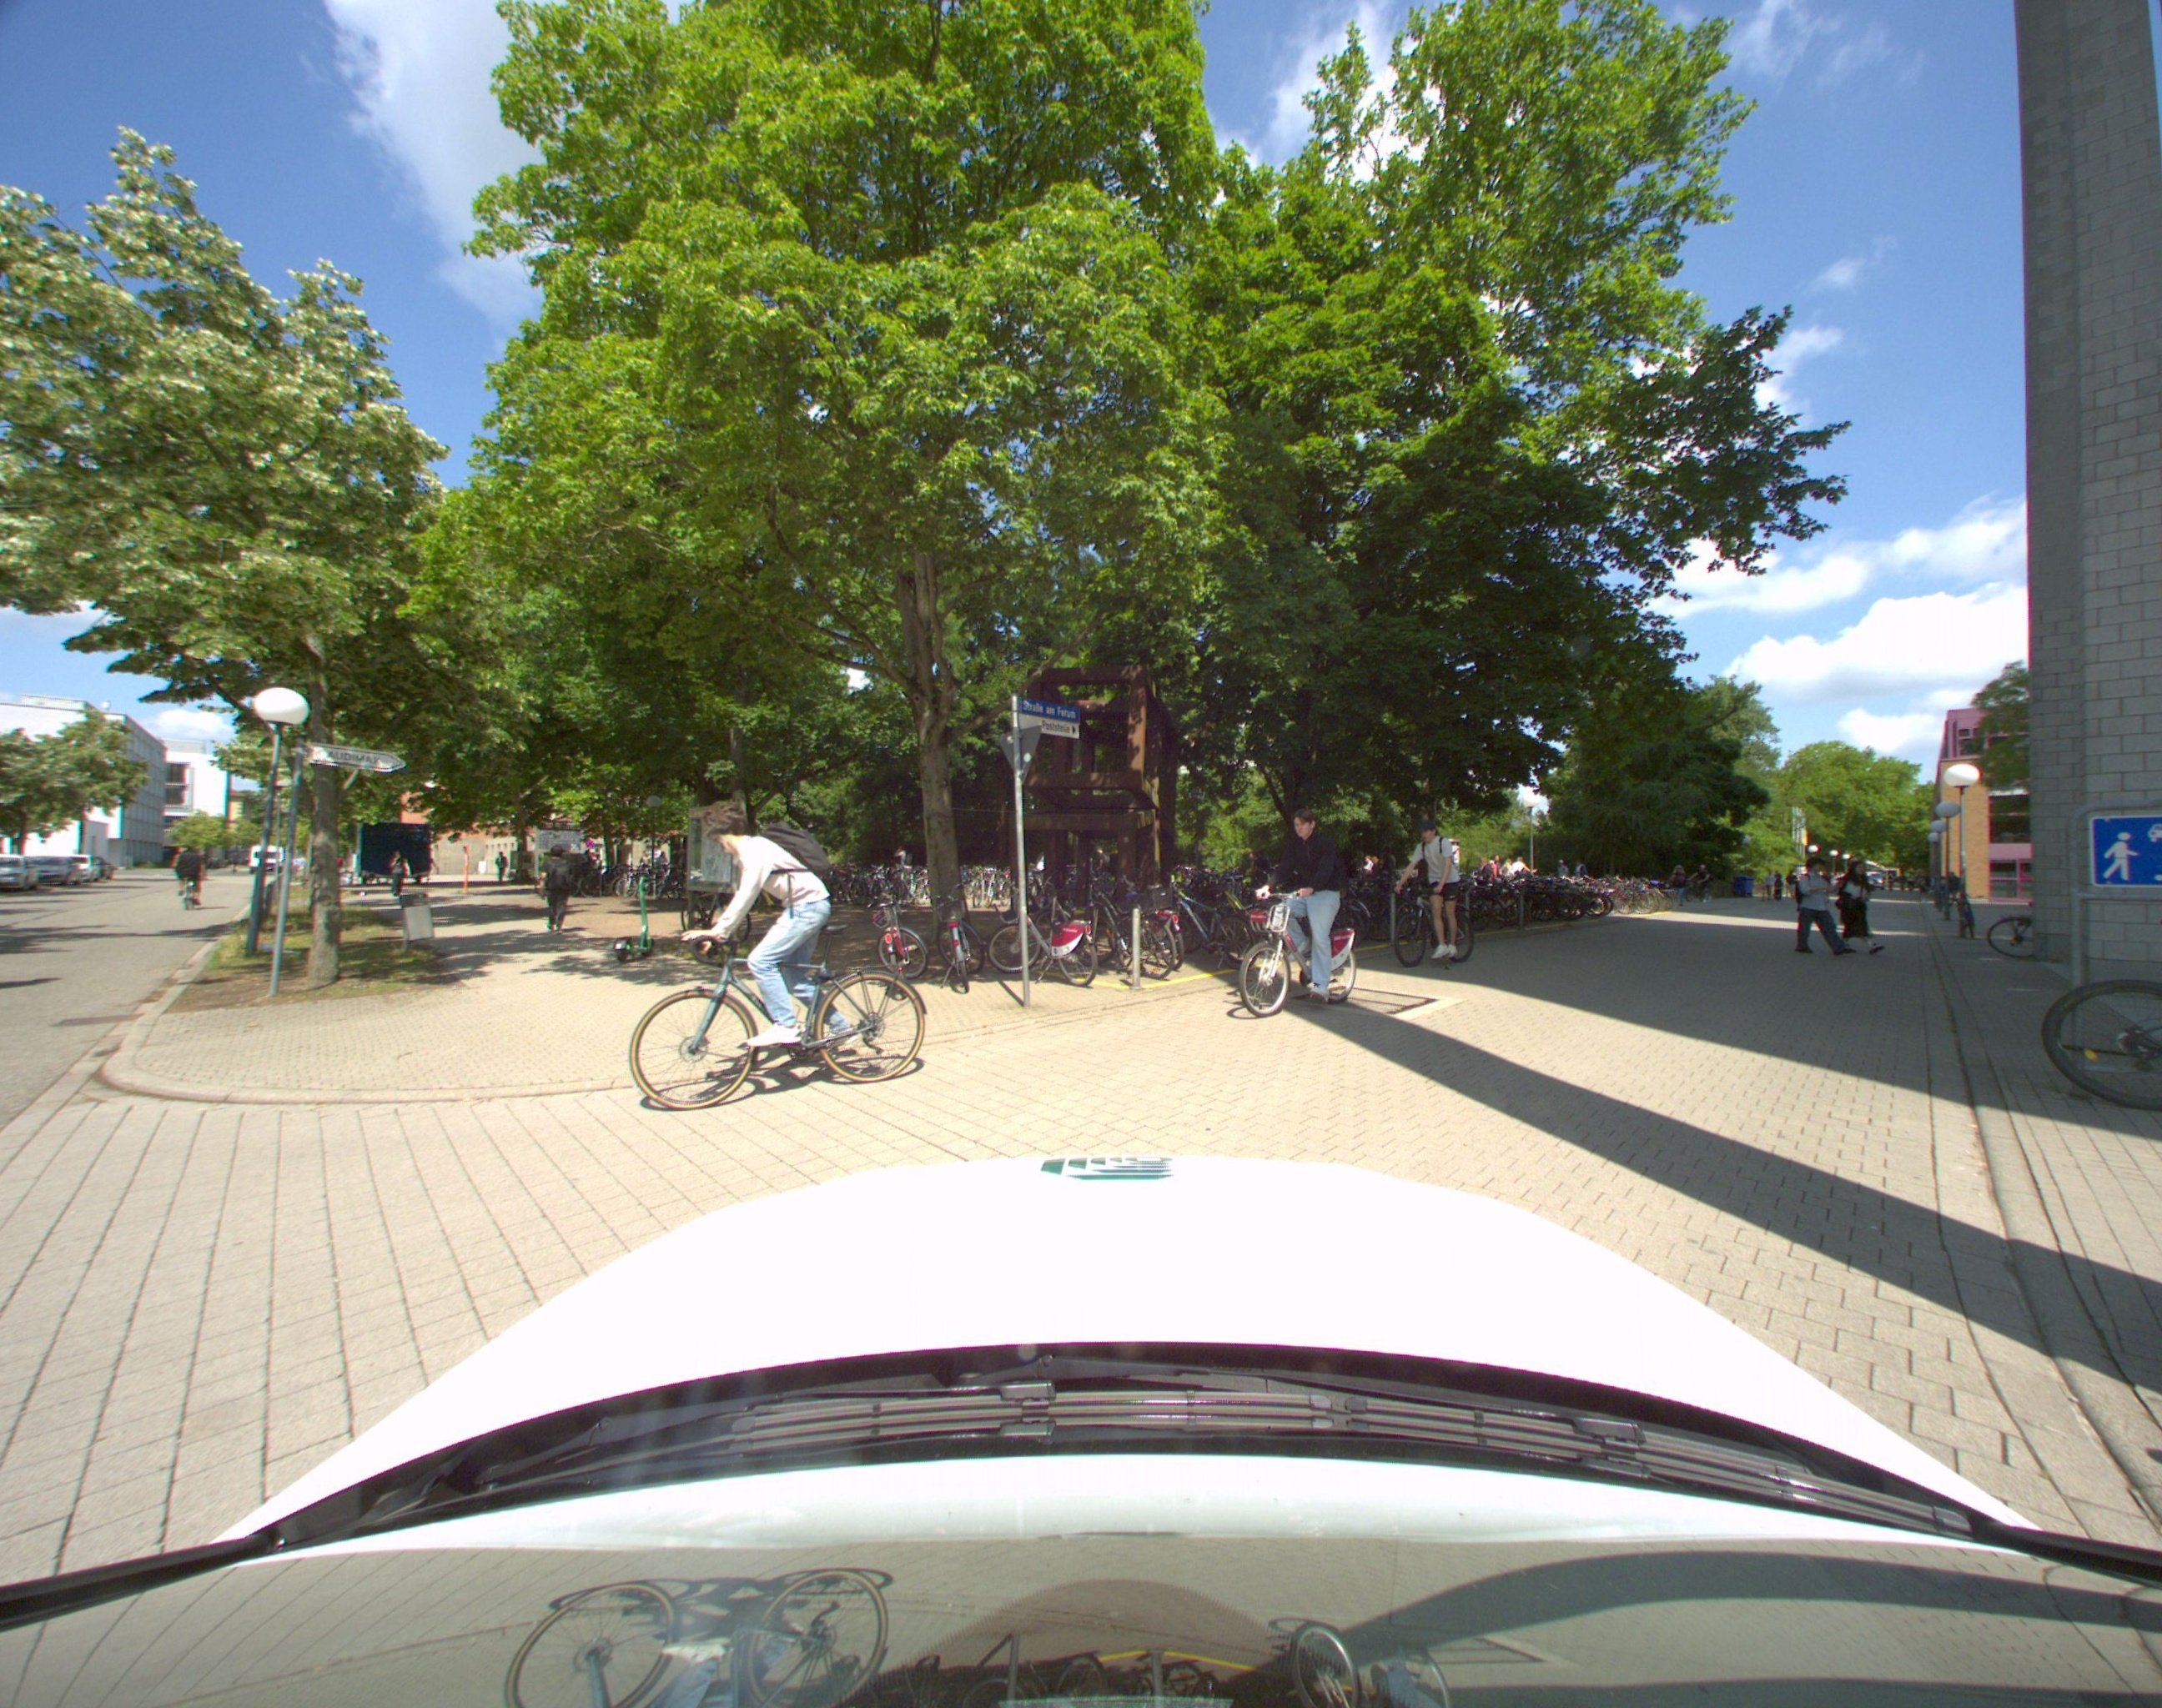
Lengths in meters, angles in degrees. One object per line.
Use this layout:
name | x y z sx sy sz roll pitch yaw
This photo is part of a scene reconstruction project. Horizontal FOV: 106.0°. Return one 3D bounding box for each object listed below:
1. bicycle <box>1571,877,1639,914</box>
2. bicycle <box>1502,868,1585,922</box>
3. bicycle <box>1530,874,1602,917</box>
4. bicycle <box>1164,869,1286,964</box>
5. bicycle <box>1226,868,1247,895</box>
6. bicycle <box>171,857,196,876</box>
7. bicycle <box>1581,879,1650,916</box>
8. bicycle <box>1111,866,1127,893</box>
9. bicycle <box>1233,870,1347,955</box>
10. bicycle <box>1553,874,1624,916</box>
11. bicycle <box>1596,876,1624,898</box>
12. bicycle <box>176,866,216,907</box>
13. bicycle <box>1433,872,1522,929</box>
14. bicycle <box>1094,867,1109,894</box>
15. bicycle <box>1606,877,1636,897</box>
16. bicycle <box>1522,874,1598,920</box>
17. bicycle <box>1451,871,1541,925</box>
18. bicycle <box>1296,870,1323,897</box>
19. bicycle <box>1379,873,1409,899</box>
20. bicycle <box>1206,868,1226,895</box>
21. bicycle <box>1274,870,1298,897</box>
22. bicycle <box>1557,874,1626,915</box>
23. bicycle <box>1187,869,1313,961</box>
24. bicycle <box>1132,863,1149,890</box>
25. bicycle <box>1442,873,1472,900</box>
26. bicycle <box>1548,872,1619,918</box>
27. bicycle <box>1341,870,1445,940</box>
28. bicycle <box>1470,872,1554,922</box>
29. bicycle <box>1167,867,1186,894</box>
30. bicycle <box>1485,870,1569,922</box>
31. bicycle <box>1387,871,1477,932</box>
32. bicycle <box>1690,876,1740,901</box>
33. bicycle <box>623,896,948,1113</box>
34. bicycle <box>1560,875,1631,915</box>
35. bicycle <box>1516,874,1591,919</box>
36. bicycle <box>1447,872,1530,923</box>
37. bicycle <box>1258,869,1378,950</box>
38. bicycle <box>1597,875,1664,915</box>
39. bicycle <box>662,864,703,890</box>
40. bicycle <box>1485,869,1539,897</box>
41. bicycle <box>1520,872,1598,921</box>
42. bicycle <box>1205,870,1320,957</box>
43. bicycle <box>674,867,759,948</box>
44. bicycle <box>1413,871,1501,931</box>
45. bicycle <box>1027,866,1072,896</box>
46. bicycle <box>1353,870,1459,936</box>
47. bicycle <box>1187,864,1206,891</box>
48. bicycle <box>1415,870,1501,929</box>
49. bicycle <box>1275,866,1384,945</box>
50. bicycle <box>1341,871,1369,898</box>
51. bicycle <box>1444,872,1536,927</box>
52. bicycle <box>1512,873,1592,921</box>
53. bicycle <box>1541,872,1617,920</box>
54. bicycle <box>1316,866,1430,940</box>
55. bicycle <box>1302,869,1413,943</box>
bicycle | 16.185 1.274 25.186 1.683 1.062 0.475 2 -1 11
bicycle | 11.521 0.998 20.331 1.718 1.236 0.500 1 -1 39
bicycle | 13.619 1.148 22.885 1.678 1.108 0.569 1 -1 35
bicycle | 1.851 0.777 10.656 0.499 1.108 1.611 3 -1 -39
bicycle | 6.744 1.182 35.453 0.514 1.110 1.776 2 -1 -2
bicycle | -55.872 0.765 50.682 1.679 1.083 0.477 2 -1 23
bicycle | 16.184 1.310 24.670 1.683 1.018 0.475 2 -1 11
bicycle | 1.642 1.072 35.205 0.514 1.110 1.776 2 -1 -2
bicycle | 3.020 0.819 11.878 0.499 1.108 1.611 3 -1 -39
bicycle | 14.589 1.162 23.441 1.678 1.108 0.586 1 -1 35
bicycle | 27.198 1.687 41.906 0.470 1.047 1.702 2 -1 6
bicycle | -24.871 0.889 22.869 2.046 1.108 0.674 -1 -1 41
bicycle | 8.425 0.965 17.384 0.575 1.108 1.727 2 -1 -24
bicycle | 0.875 1.123 35.156 0.514 1.110 1.776 2 -1 -2
bicycle | 29.705 1.820 44.793 1.701 1.047 0.471 3 0 -23
bicycle | 12.561 1.113 21.366 1.678 1.108 0.477 1 -1 35
bicycle | 9.418 0.985 18.519 1.719 1.126 0.500 1 -1 42
bicycle | 9.902 1.263 35.293 0.515 1.110 1.775 2 -1 -5
bicycle | 13.793 1.396 35.908 0.472 1.110 1.775 2 -1 -5
bicycle | 5.898 1.185 35.580 0.514 1.110 1.776 2 -1 -2
bicycle | 8.859 1.261 35.204 0.514 1.110 1.776 2 -1 -2
bicycle | 15.268 1.200 24.396 1.680 1.157 0.476 2 -1 19
bicycle | 2.256 0.787 11.052 0.632 1.108 1.611 3 -1 -39
bicycle | 2.566 0.973 35.320 0.514 1.110 1.776 2 -1 -2
bicycle | 16.378 1.420 35.513 0.471 1.110 1.777 2 -1 0
bicycle | 14.214 1.144 23.064 1.678 1.187 0.477 1 -1 35
bicycle | 5.452 0.871 14.288 1.609 1.108 0.500 1 -1 41
bicycle | 10.400 1.023 19.681 1.718 1.108 0.500 1 -1 34
bicycle | 4.140 1.133 35.314 0.514 1.110 1.776 2 -1 -2
bicycle | 10.982 1.023 20.078 0.500 1.178 1.719 3 -1 -44
bicycle | 6.985 0.931 16.272 0.564 1.108 1.614 2 -1 -30
bicycle | 29.907 1.633 38.437 1.823 1.110 0.476 2 -1 20
bicycle | -1.815 0.879 5.187 1.820 1.108 0.636 -1 1 -21
bicycle | 15.117 1.193 23.953 1.680 1.108 0.476 2 -1 19
bicycle | 12.645 1.115 21.822 1.678 1.108 0.477 1 -1 35
bicycle | 9.611 1.021 19.264 1.720 1.108 0.499 2 -1 22
bicycle | 3.568 0.807 12.355 0.694 1.108 1.611 3 -1 -39
bicycle | 17.158 1.260 25.469 1.678 1.168 0.477 2 -1 29
bicycle | -17.194 0.975 35.171 0.469 1.083 1.707 2 -1 17
bicycle | 17.378 1.143 32.859 1.884 1.047 0.545 1 -1 36
bicycle | 12.301 1.079 20.973 1.678 1.145 0.477 1 -1 35
bicycle | 2.547 0.804 11.577 0.508 1.108 1.611 3 -1 -39
bicycle | -5.605 0.788 12.490 1.816 1.108 0.395 1 -1 40
bicycle | 7.560 0.923 16.450 0.498 1.108 1.614 2 -1 -30
bicycle | -1.253 1.064 32.141 1.678 1.083 0.608 2 -1 30
bicycle | 6.004 0.877 15.109 0.722 1.108 1.709 3 -1 -33
bicycle | 5.010 1.004 35.411 0.514 1.110 1.776 2 -1 -2
bicycle | 7.859 0.922 17.028 0.498 1.144 1.614 2 -1 -30
bicycle | 3.962 0.791 13.086 0.500 1.151 1.610 3 -1 -43
bicycle | 11.869 1.319 35.332 0.472 1.110 1.775 2 -1 -5
bicycle | 9.030 0.992 18.021 0.500 1.108 1.719 3 -1 -44
bicycle | 11.910 1.076 20.617 1.678 1.108 0.500 1 -1 36
bicycle | 13.383 1.109 21.921 1.678 1.198 0.540 1 -1 38
bicycle | 5.010 0.809 14.032 1.763 1.161 0.500 1 -1 41
bicycle | 4.584 0.830 13.552 1.609 1.108 0.649 1 -1 41
